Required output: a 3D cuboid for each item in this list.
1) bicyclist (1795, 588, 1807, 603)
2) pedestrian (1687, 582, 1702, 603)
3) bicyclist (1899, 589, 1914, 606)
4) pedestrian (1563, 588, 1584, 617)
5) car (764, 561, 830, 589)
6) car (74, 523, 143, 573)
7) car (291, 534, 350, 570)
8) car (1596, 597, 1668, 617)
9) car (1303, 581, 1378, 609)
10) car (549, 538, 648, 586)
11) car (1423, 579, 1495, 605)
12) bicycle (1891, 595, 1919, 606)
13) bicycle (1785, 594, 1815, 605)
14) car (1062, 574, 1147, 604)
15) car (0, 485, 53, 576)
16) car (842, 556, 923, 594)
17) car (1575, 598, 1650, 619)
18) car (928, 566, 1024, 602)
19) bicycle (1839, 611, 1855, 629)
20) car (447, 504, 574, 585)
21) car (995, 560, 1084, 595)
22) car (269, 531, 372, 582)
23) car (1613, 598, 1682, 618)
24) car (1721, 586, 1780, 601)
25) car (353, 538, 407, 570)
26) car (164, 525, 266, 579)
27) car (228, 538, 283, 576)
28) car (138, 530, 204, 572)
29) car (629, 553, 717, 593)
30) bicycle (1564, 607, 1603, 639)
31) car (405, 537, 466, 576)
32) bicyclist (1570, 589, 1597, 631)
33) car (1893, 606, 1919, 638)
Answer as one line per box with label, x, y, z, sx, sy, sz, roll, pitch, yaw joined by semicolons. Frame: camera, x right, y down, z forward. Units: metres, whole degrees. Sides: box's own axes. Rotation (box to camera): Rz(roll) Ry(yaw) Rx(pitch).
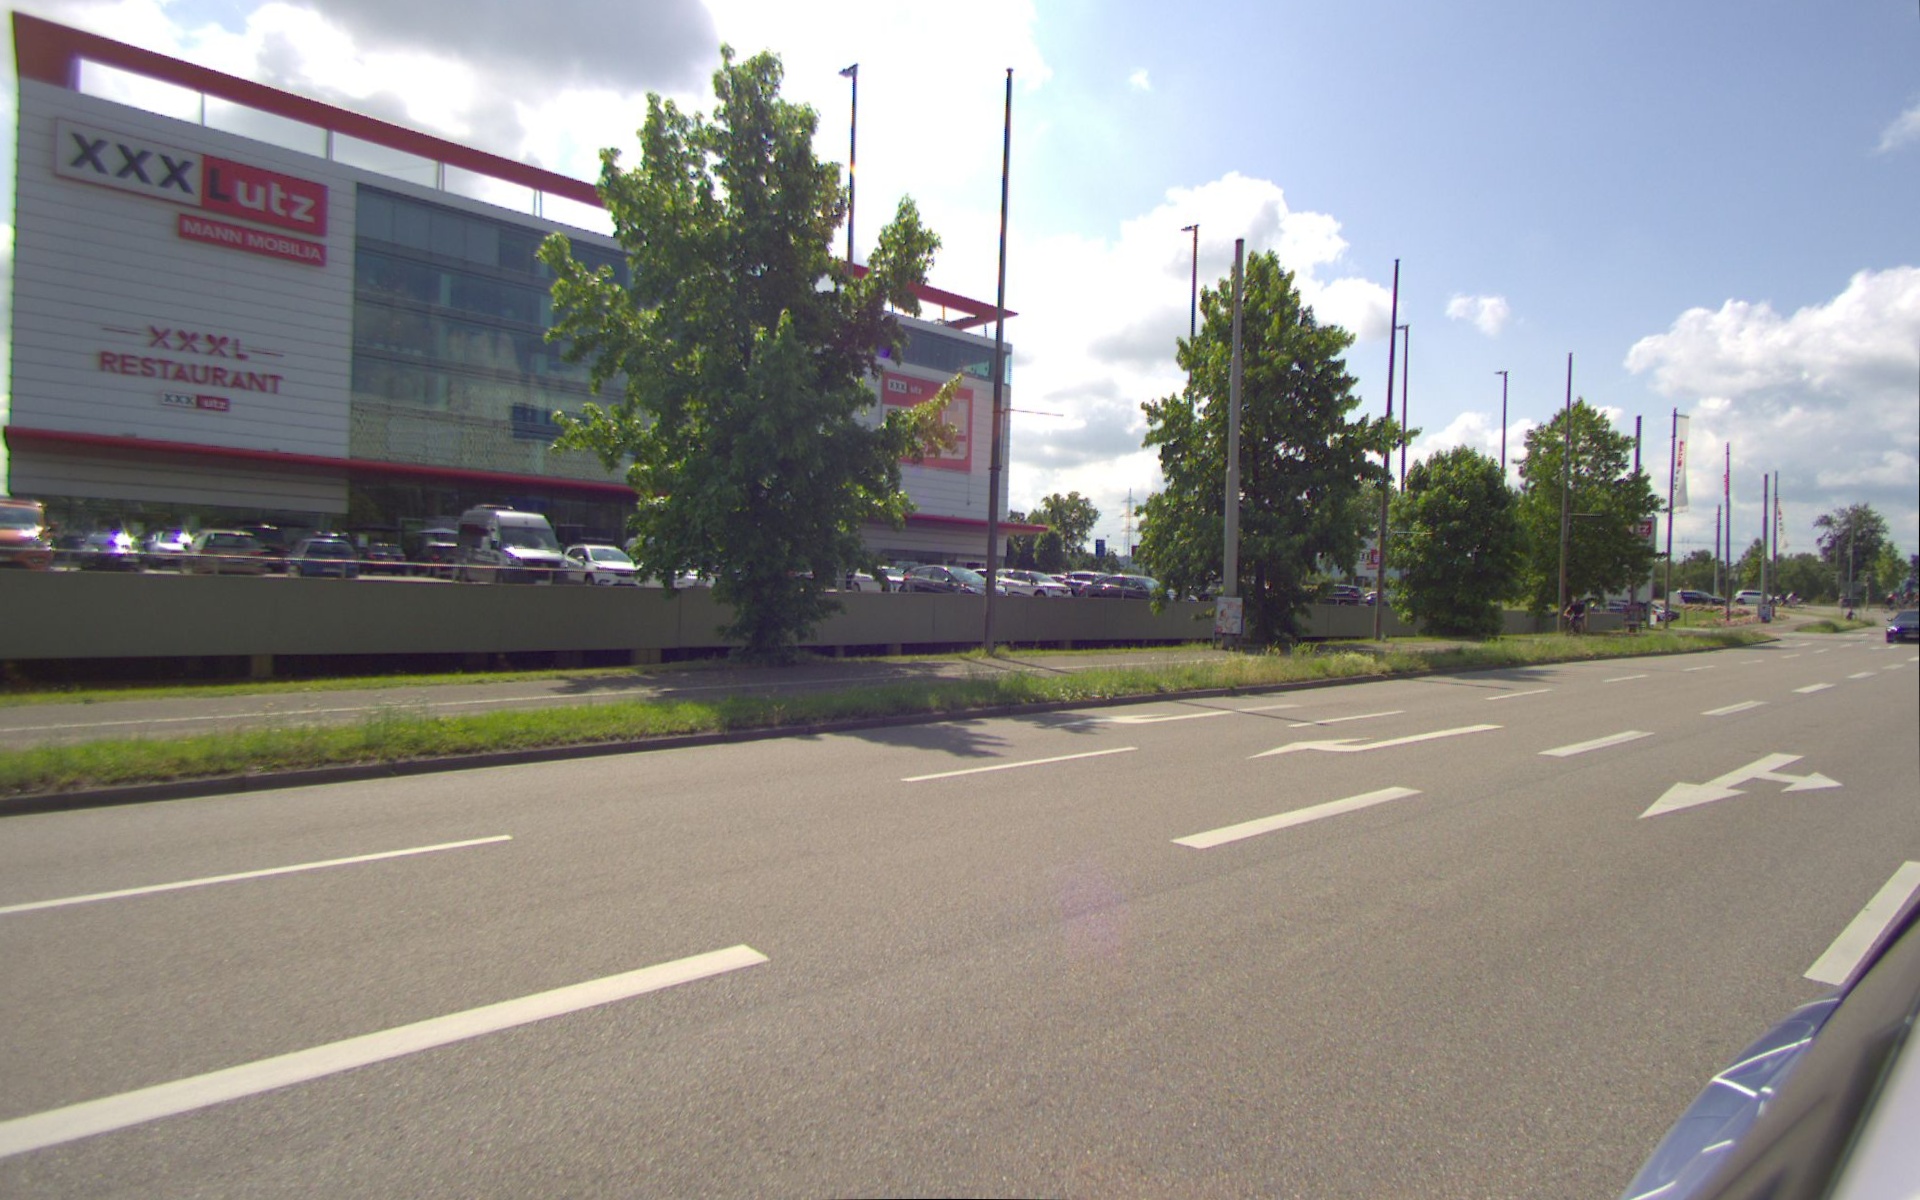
bicyclist;75.941;-0.418;91.370;0.681;1.342;0.587;1;-1;28
pedestrian;67.764;-0.675;93.399;0.864;1.786;0.849;6;1;44
bicyclist;83.436;-0.212;89.224;0.730;1.494;0.649;1;-1;8
pedestrian;38.756;0.146;63.948;0.856;1.805;0.784;1;-1;2
car;-8.873;-1.328;54.855;1.601;1.438;3.992;1;0;-42
car;-30.241;-1.805;35.915;1.608;1.595;3.899;1;0;-44
car;-28.608;-2.110;45.227;1.606;1.461;3.903;1;0;-41
car;52.014;0.523;78.382;1.824;1.434;4.365;0;0;-41
car;24.203;-0.333;64.446;4.056;1.550;1.714;4;3;45
car;-12.309;-1.232;34.325;1.718;1.533;3.991;-1;1;-43
car;33.454;-0.543;67.914;1.666;1.608;4.020;2;0;-43
bicycle;83.322;0.052;89.229;1.668;0.973;0.664;1;-1;9
bicycle;75.850;-0.035;91.412;1.969;0.973;0.591;1;-1;29
car;7.349;-0.573;51.774;1.659;1.341;4.191;1;2;-42
car;-26.038;-1.811;27.590;1.953;2.223;5.167;0;0;-42
car;-3.861;-1.215;50.034;1.965;1.742;3.994;1;0;-41
car;48.479;0.624;75.206;1.824;1.495;4.367;0;0;-40
car;0.666;-0.735;45.302;1.862;1.406;4.187;1;2;-45
bicycle;50.676;1.134;57.822;1.518;0.964;0.517;0;1;-43
car;-14.739;-1.702;33.001;2.027;2.396;5.664;0;1;-43
car;3.780;-1.052;48.648;1.967;1.590;3.990;0;1;-44
car;-20.876;-1.363;32.947;1.954;1.502;4.872;0;1;-43
car;55.779;0.623;82.146;1.765;1.458;4.366;0;1;-41
car;78.999;-0.653;101.170;1.981;1.430;4.486;0;2;-45
car;-27.210;-2.124;47.426;1.525;1.387;3.443;1;0;-41
car;-22.675;-1.387;30.718;1.954;1.472;4.872;0;1;-43
car;-30.317;-1.804;43.526;1.557;1.483;3.531;1;0;-41
car;-32.834;-2.006;42.058;1.965;1.563;3.994;1;0;-41
car;-11.498;-1.103;40.410;1.696;1.452;4.190;1;1;-42
bicycle;21.758;0.797;35.317;1.934;1.081;0.624;1;1;-42
car;-25.243;-2.064;48.669;1.719;1.727;3.747;1;0;-42
bicyclist;21.737;0.343;35.291;0.702;1.430;0.616;1;0;-41
car;40.910;0.910;42.654;4.088;1.335;1.796;0;0;-39
